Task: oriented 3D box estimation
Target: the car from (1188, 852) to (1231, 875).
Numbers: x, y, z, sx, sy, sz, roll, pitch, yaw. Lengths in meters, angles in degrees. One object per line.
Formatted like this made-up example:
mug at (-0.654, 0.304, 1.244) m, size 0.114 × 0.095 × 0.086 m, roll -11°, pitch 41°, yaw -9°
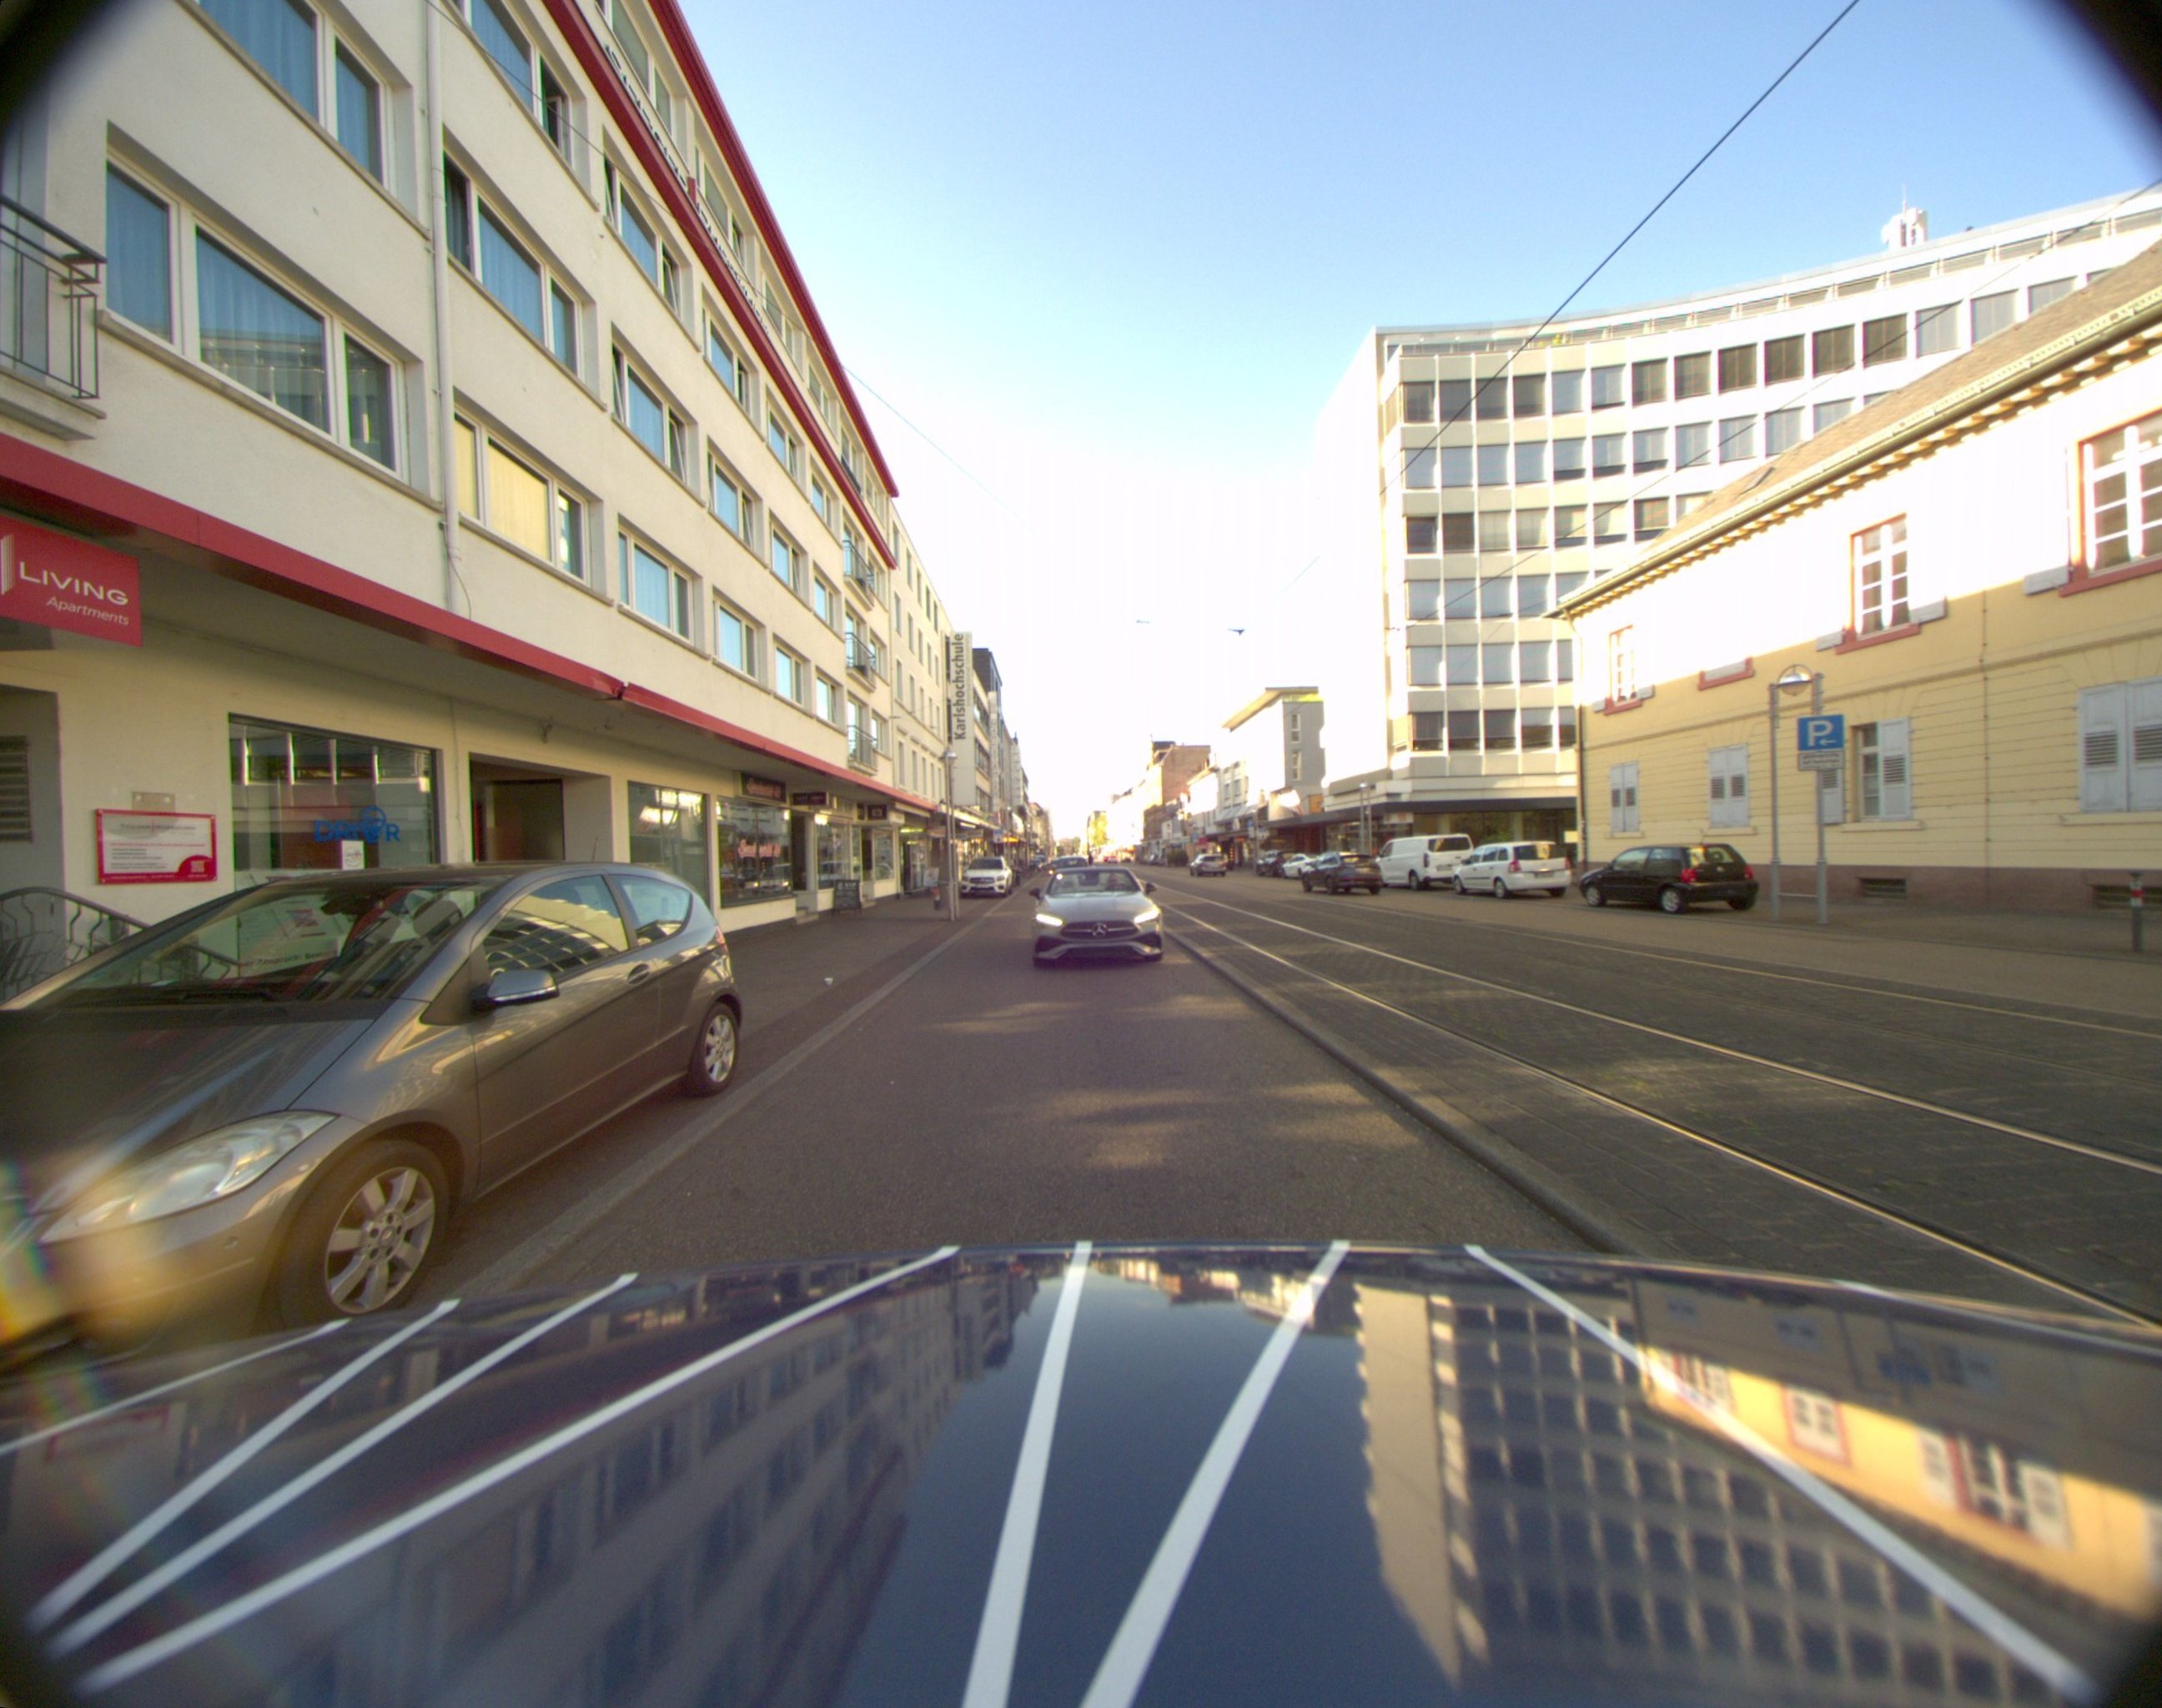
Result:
car at (8.678, 0.586, 51.771) m, size 1.885 × 1.487 × 4.928 m, roll 0°, pitch 0°, yaw -3°

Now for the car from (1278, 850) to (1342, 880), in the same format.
car at (12.555, 0.566, 41.952) m, size 1.893 × 1.413 × 4.655 m, roll -4°, pitch 1°, yaw -2°

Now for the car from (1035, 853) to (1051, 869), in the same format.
car at (-4.697, 0.836, 93.108) m, size 1.821 × 1.849 × 4.548 m, roll -1°, pitch 1°, yaw -5°

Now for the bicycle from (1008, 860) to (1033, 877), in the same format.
bicycle at (-4.549, 1.086, 56.976) m, size 1.792 × 1.210 × 0.669 m, roll -1°, pitch 1°, yaw -2°

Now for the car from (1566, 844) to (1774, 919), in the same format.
car at (12.868, 0.534, 16.913) m, size 1.618 × 1.392 × 3.719 m, roll -4°, pitch 1°, yaw -2°

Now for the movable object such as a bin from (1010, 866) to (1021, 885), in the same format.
movable object such as a bin at (-3.665, 1.206, 42.384) m, size 0.523 × 1.008 × 0.671 m, roll -1°, pitch 1°, yaw 1°

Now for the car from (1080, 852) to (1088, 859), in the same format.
car at (0.899, 0.448, 215.931) m, size 1.999 × 2.002 × 3.999 m, roll -4°, pitch 1°, yaw 0°

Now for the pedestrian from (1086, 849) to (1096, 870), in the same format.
pedestrian at (0.859, 0.467, 65.235) m, size 0.806 × 1.827 × 0.746 m, roll 0°, pitch 1°, yaw -3°

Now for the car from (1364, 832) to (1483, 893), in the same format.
car at (12.755, 0.262, 28.735) m, size 1.999 × 1.964 × 5.095 m, roll -4°, pitch 1°, yaw -2°

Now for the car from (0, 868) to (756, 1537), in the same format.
car at (-3.242, 0.915, 3.720) m, size 1.750 × 1.622 × 3.648 m, roll -1°, pitch 0°, yaw -1°

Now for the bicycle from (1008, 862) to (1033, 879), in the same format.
bicycle at (-4.442, 1.192, 55.617) m, size 1.792 × 1.153 × 0.669 m, roll -1°, pitch 1°, yaw -2°

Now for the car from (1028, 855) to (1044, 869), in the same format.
car at (-5.104, 0.886, 86.435) m, size 1.726 × 1.476 × 4.415 m, roll 0°, pitch 1°, yaw -1°

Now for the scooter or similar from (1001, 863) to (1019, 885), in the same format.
scooter or similar at (-3.895, 1.098, 41.854) m, size 0.995 × 1.224 × 0.319 m, roll 0°, pitch 1°, yaw -3°

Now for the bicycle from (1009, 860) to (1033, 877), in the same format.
bicycle at (-4.546, 1.098, 57.903) m, size 1.792 × 1.210 × 0.587 m, roll -1°, pitch 1°, yaw -2°

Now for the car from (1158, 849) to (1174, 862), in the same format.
car at (11.176, 0.205, 99.923) m, size 1.701 × 1.594 × 2.890 m, roll -3°, pitch 1°, yaw -1°

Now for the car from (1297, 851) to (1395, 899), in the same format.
car at (9.348, 0.684, 27.158) m, size 1.769 × 1.503 × 4.278 m, roll -2°, pitch 0°, yaw -3°

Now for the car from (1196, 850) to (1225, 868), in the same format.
car at (12.065, 0.431, 71.150) m, size 1.741 × 1.514 × 4.851 m, roll -4°, pitch 1°, yaw -1°

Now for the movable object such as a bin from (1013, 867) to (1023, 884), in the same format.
movable object such as a bin at (-3.632, 1.226, 43.692) m, size 0.489 × 0.952 × 0.457 m, roll -1°, pitch 1°, yaw 2°

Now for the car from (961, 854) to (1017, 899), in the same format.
car at (-3.761, 0.860, 31.762) m, size 1.854 × 1.714 × 5.191 m, roll 0°, pitch 1°, yaw -2°

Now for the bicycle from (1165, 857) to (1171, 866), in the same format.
bicycle at (10.606, 0.885, 92.599) m, size 0.520 × 1.084 × 1.715 m, roll -4°, pitch 1°, yaw -1°

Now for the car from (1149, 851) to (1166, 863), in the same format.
car at (11.005, 0.437, 109.246) m, size 1.822 × 1.505 × 4.761 m, roll -2°, pitch 1°, yaw -1°

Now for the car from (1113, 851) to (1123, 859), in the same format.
car at (7.282, 0.208, 150.289) m, size 1.802 × 1.625 × 3.675 m, roll -1°, pitch 1°, yaw -1°

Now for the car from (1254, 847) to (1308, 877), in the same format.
car at (12.413, 0.456, 47.383) m, size 1.983 × 1.669 × 4.654 m, roll -4°, pitch 1°, yaw -1°

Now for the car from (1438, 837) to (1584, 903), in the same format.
car at (12.840, 0.414, 23.068) m, size 1.812 × 1.676 × 4.648 m, roll -4°, pitch 1°, yaw 1°

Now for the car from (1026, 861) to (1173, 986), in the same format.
car at (0.174, 0.915, 12.137) m, size 1.858 × 1.463 × 4.785 m, roll -1°, pitch 1°, yaw -2°

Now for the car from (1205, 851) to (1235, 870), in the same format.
car at (11.844, 0.512, 65.096) m, size 1.605 × 1.514 × 3.588 m, roll -4°, pitch 1°, yaw -4°
